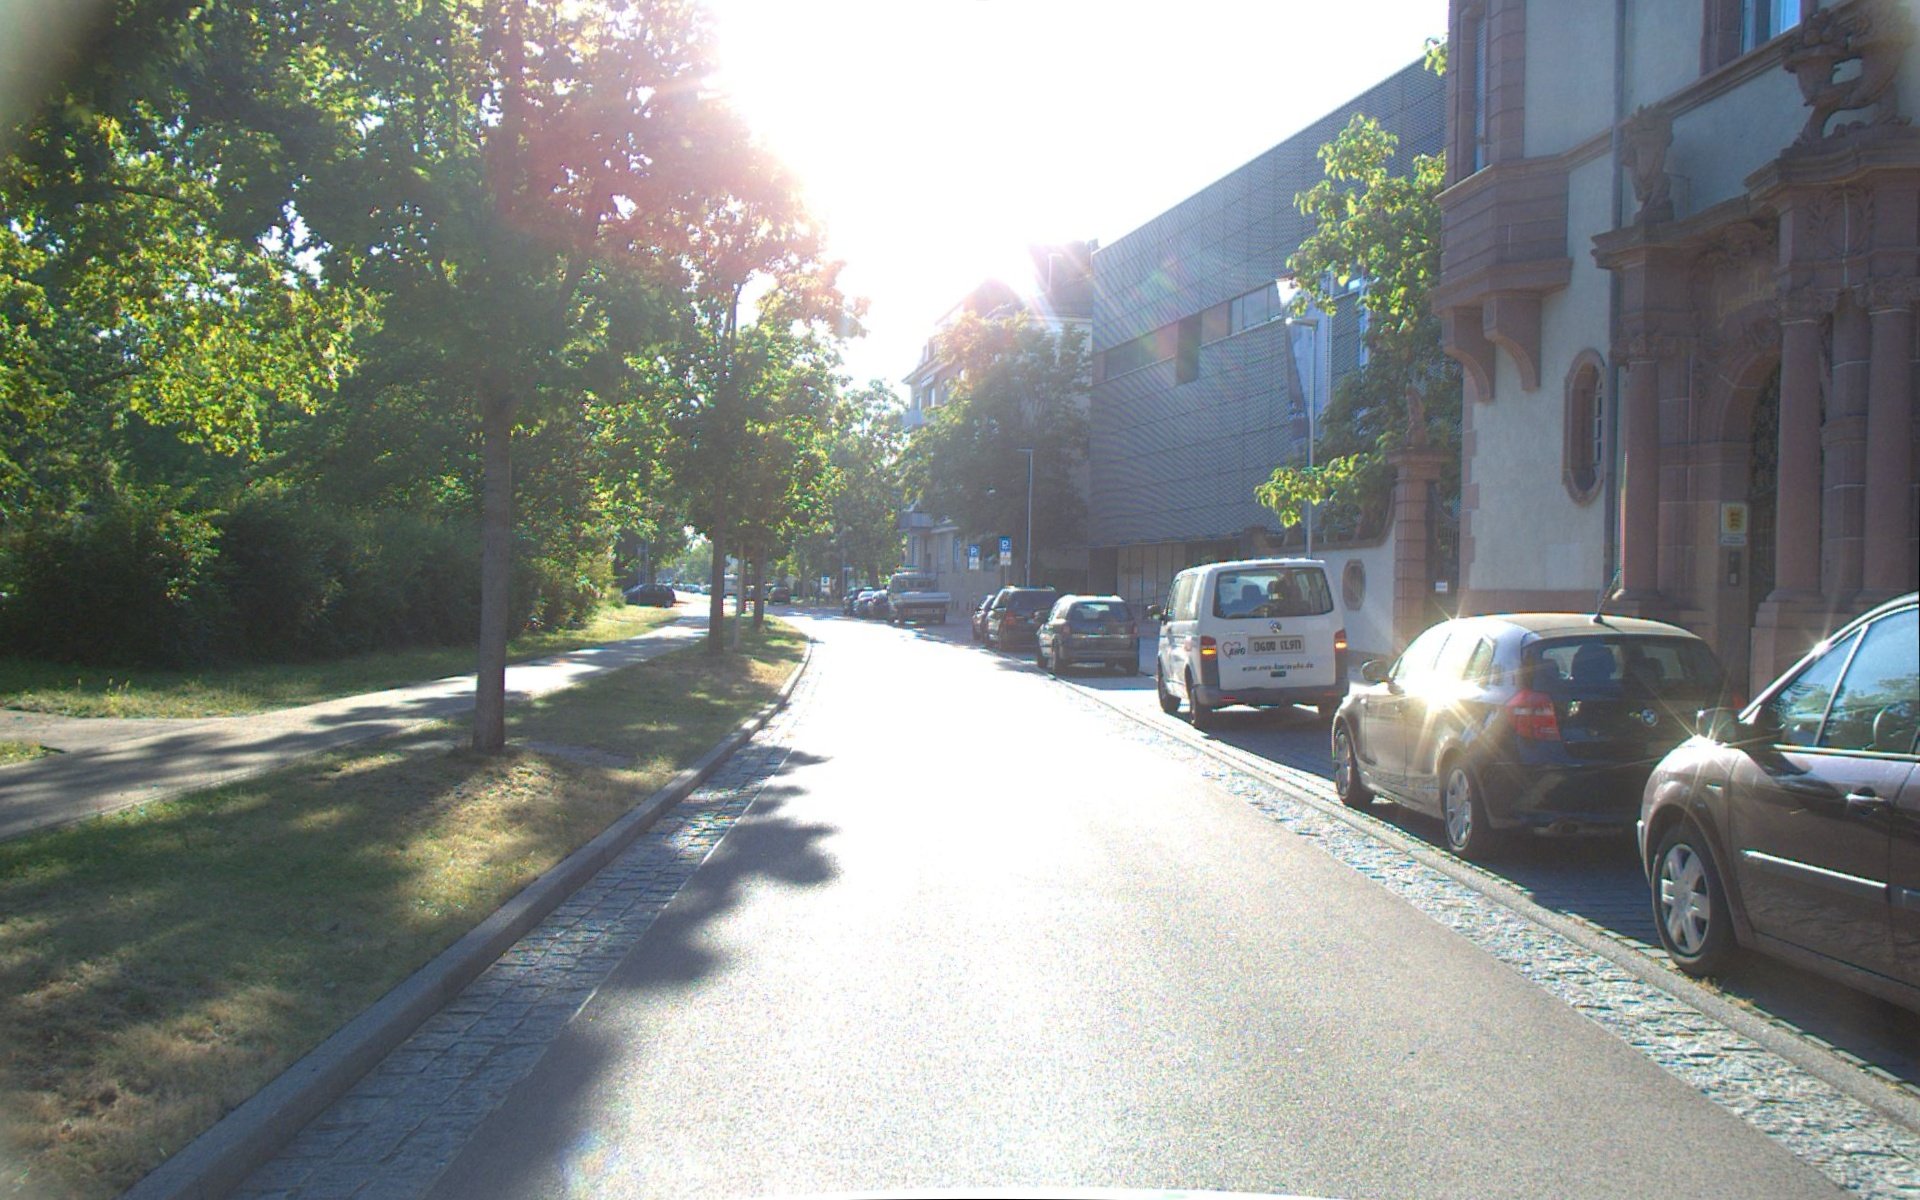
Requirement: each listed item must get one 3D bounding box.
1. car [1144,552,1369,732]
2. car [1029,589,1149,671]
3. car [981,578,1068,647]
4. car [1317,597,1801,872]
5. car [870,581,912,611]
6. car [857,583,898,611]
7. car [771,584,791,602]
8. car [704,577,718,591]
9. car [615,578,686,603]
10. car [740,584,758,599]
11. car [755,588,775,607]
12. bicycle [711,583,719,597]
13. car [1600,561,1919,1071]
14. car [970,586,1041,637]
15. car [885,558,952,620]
[{"bbox_3d":[3.700,0.427,21.548,1.953,2.000,4.849,-2,1,-1],"label":"car"},{"bbox_3d":[2.548,0.554,33.623,1.713,1.492,4.473,-1,1,-5],"label":"car"},{"bbox_3d":[1.664,0.289,43.941,1.691,1.698,4.108,-1,1,-7],"label":"car"},{"bbox_3d":[3.716,0.727,11.098,1.645,1.427,4.199,-1,1,-1],"label":"car"},{"bbox_3d":[-3.497,-0.226,83.779,1.660,1.465,3.542,0,1,-11],"label":"car"},{"bbox_3d":[-4.476,-0.158,89.065,1.660,1.465,4.094,0,1,-10],"label":"car"},{"bbox_3d":[-15.898,-0.596,146.793,1.759,1.536,3.995,1,0,-6],"label":"car"},{"bbox_3d":[-37.940,-2.477,252.327,1.957,2.004,3.991,2,0,-10],"label":"car"},{"bbox_3d":[-19.141,-0.591,102.341,3.957,1.445,1.749,1,1,-37],"label":"car"},{"bbox_3d":[-22.405,-0.928,175.630,1.760,1.536,3.992,1,0,-9],"label":"car"},{"bbox_3d":[-18.868,-0.234,160.201,1.760,1.754,3.992,1,0,-9],"label":"car"},{"bbox_3d":[-23.460,-0.982,158.494,0.675,1.223,2.341,1,3,-6],"label":"bicycle"},{"bbox_3d":[3.940,0.678,5.566,1.779,1.630,4.190,-1,1,-3],"label":"car"},{"bbox_3d":[1.335,0.325,49.890,1.691,1.446,3.902,0,1,-5],"label":"car"},{"bbox_3d":[-1.890,-0.503,72.786,2.170,2.574,6.135,-1,1,-9],"label":"car"}]
